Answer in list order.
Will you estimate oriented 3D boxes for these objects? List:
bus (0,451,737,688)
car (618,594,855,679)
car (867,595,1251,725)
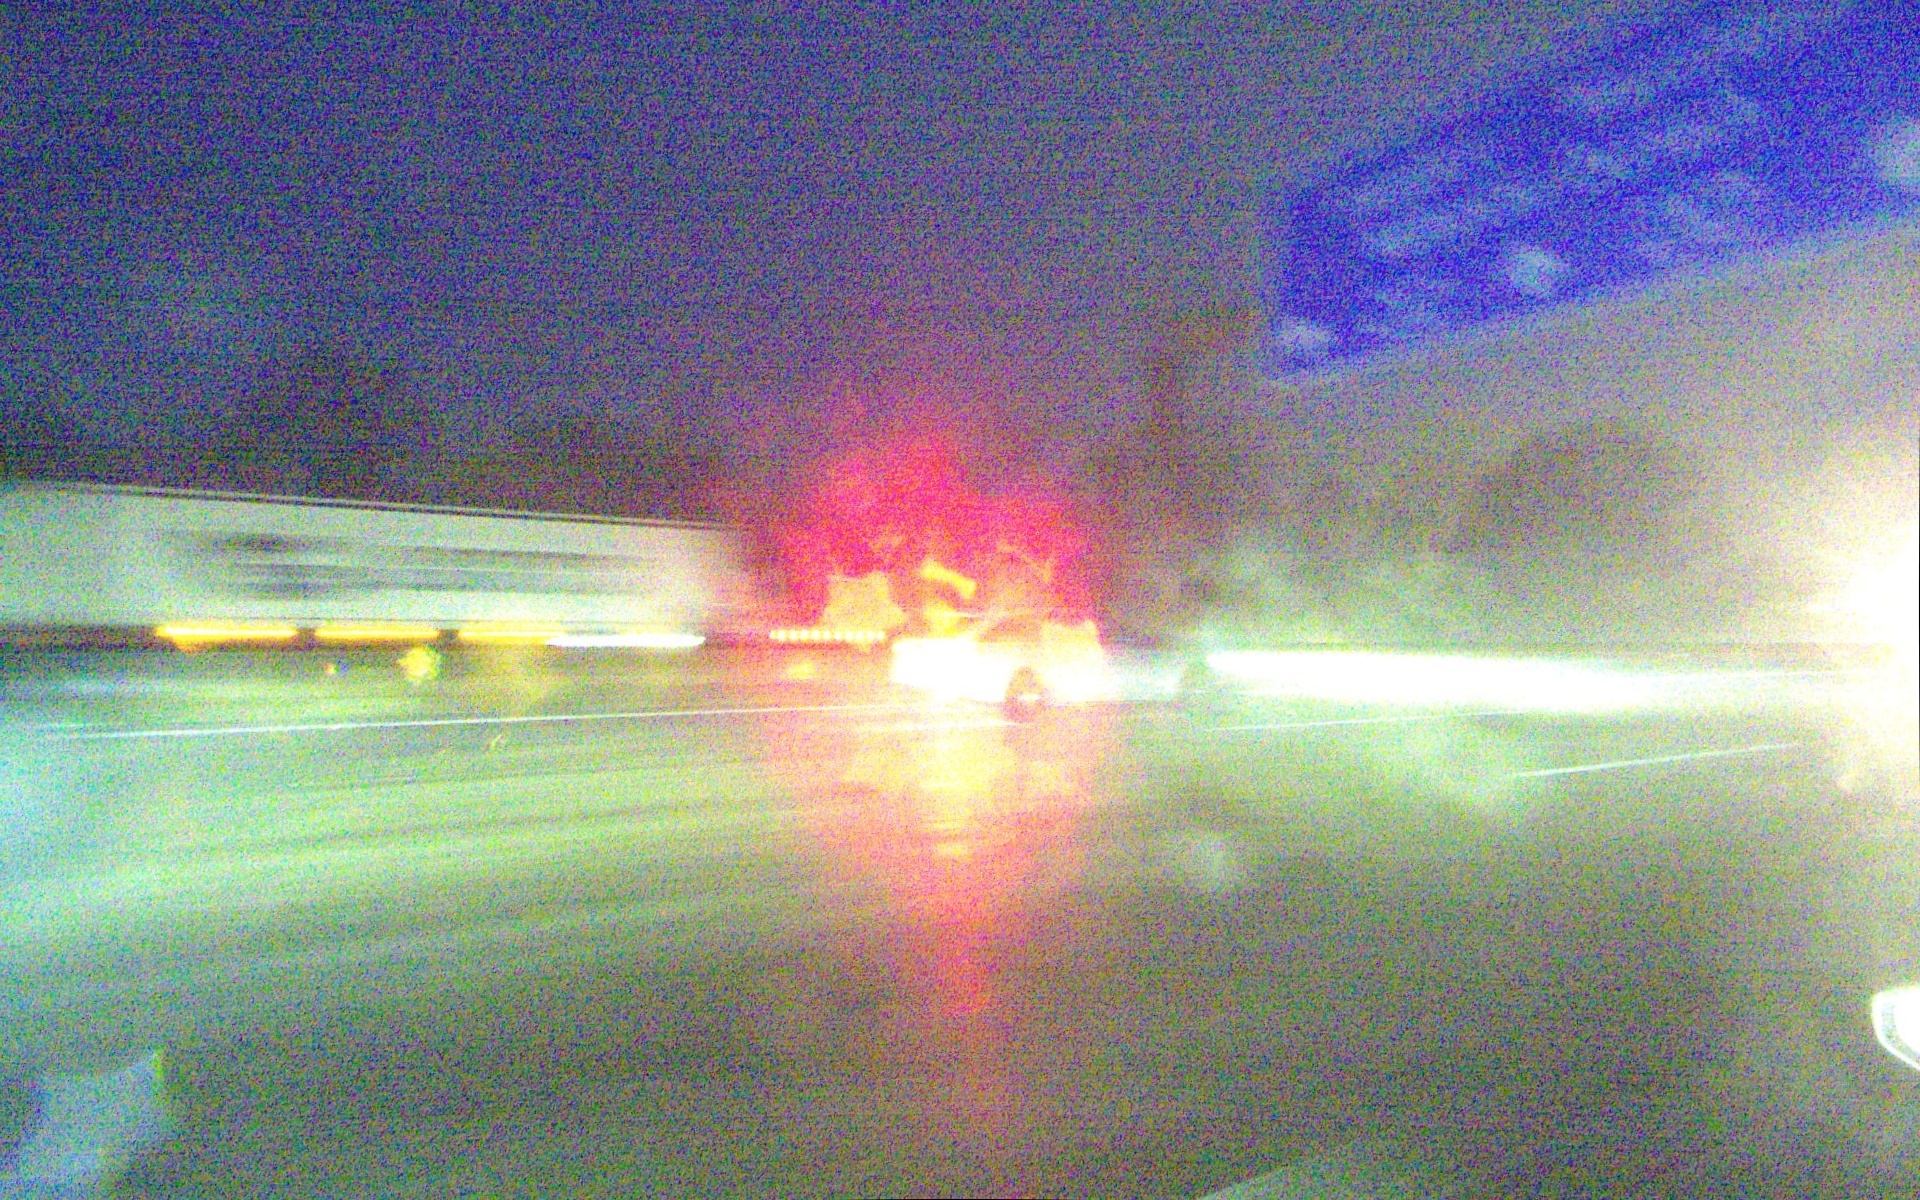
[{"bbox_3d":[-13.965,-0.449,23.642,16.812,4.550,3.060,2,0,-30],"label":"bus"},{"bbox_3d":[-4.562,0.735,20.670,4.408,1.578,1.870,2,0,-31],"label":"car"},{"bbox_3d":[1.453,0.766,13.936,5.104,1.496,1.984,2,0,-30],"label":"car"}]
